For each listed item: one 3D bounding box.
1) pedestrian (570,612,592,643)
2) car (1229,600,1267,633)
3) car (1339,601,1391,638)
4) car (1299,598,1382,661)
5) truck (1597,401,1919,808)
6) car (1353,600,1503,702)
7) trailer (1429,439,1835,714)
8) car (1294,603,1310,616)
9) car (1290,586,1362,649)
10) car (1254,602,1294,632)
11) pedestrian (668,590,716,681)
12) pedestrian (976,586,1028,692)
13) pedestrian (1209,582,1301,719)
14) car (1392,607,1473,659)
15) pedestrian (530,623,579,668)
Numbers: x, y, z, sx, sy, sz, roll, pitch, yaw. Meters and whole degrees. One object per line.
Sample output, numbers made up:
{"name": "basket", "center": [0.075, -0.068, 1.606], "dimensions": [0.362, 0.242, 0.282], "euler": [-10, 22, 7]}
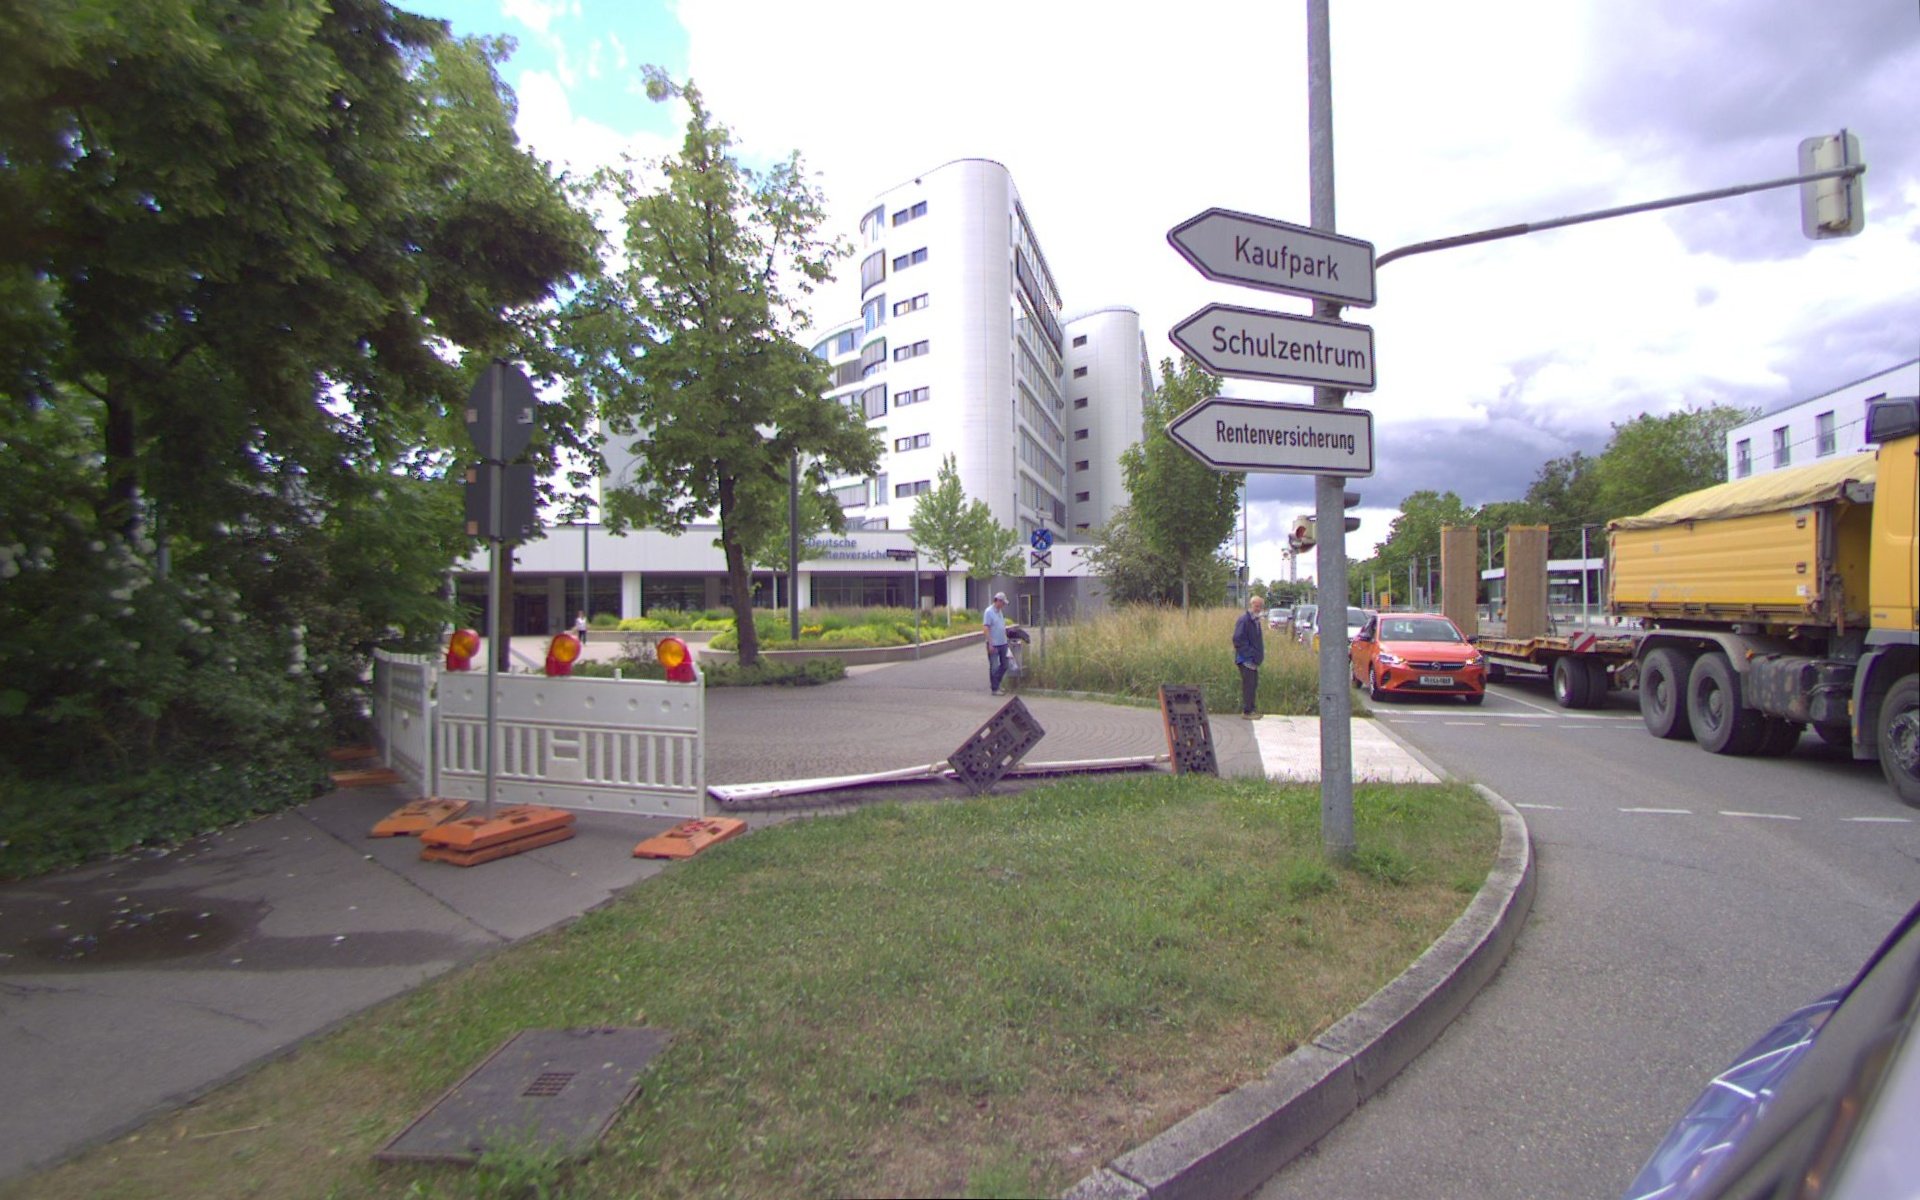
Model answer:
{"name": "pedestrian", "center": [-16.204, 1.179, 43.241], "dimensions": [0.867, 1.290, 0.706], "euler": [0, -1, -21]}
{"name": "car", "center": [14.242, 0.787, 50.227], "dimensions": [1.714, 1.594, 3.430], "euler": [0, 0, 14]}
{"name": "car", "center": [18.029, 0.841, 45.188], "dimensions": [1.670, 1.498, 3.981], "euler": [-1, 0, 15]}
{"name": "car", "center": [10.267, 0.747, 27.493], "dimensions": [1.714, 1.594, 3.430], "euler": [0, 0, 14]}
{"name": "truck", "center": [9.086, -0.003, 9.700], "dimensions": [2.689, 3.041, 7.745], "euler": [-1, 0, 14]}
{"name": "car", "center": [7.913, 0.782, 17.454], "dimensions": [1.670, 1.498, 3.981], "euler": [-1, 0, 15]}
{"name": "trailer", "center": [11.305, -0.284, 18.728], "dimensions": [2.675, 3.566, 10.866], "euler": [-1, 0, 14]}
{"name": "car", "center": [49.659, 1.396, 147.093], "dimensions": [1.862, 1.794, 4.839], "euler": [0, 0, 15]}
{"name": "car", "center": [12.561, 0.580, 34.929], "dimensions": [1.971, 2.039, 3.980], "euler": [-1, -1, 15]}
{"name": "car", "center": [17.054, 0.902, 55.150], "dimensions": [1.824, 1.594, 4.602], "euler": [0, 0, 14]}
{"name": "pedestrian", "center": [-5.143, 0.666, 19.452], "dimensions": [0.642, 1.716, 0.694], "euler": [0, -1, 13]}
{"name": "pedestrian", "center": [0.740, 0.668, 17.817], "dimensions": [0.687, 1.813, 0.722], "euler": [0, -1, 27]}
{"name": "pedestrian", "center": [3.948, 0.654, 13.577], "dimensions": [0.713, 1.762, 0.957], "euler": [0, -1, -25]}
{"name": "car", "center": [15.083, 1.004, 32.501], "dimensions": [1.670, 1.498, 3.981], "euler": [-1, 0, 15]}
{"name": "pedestrian", "center": [-8.266, 0.920, 20.639], "dimensions": [0.642, 0.875, 0.694], "euler": [0, -1, 13]}
